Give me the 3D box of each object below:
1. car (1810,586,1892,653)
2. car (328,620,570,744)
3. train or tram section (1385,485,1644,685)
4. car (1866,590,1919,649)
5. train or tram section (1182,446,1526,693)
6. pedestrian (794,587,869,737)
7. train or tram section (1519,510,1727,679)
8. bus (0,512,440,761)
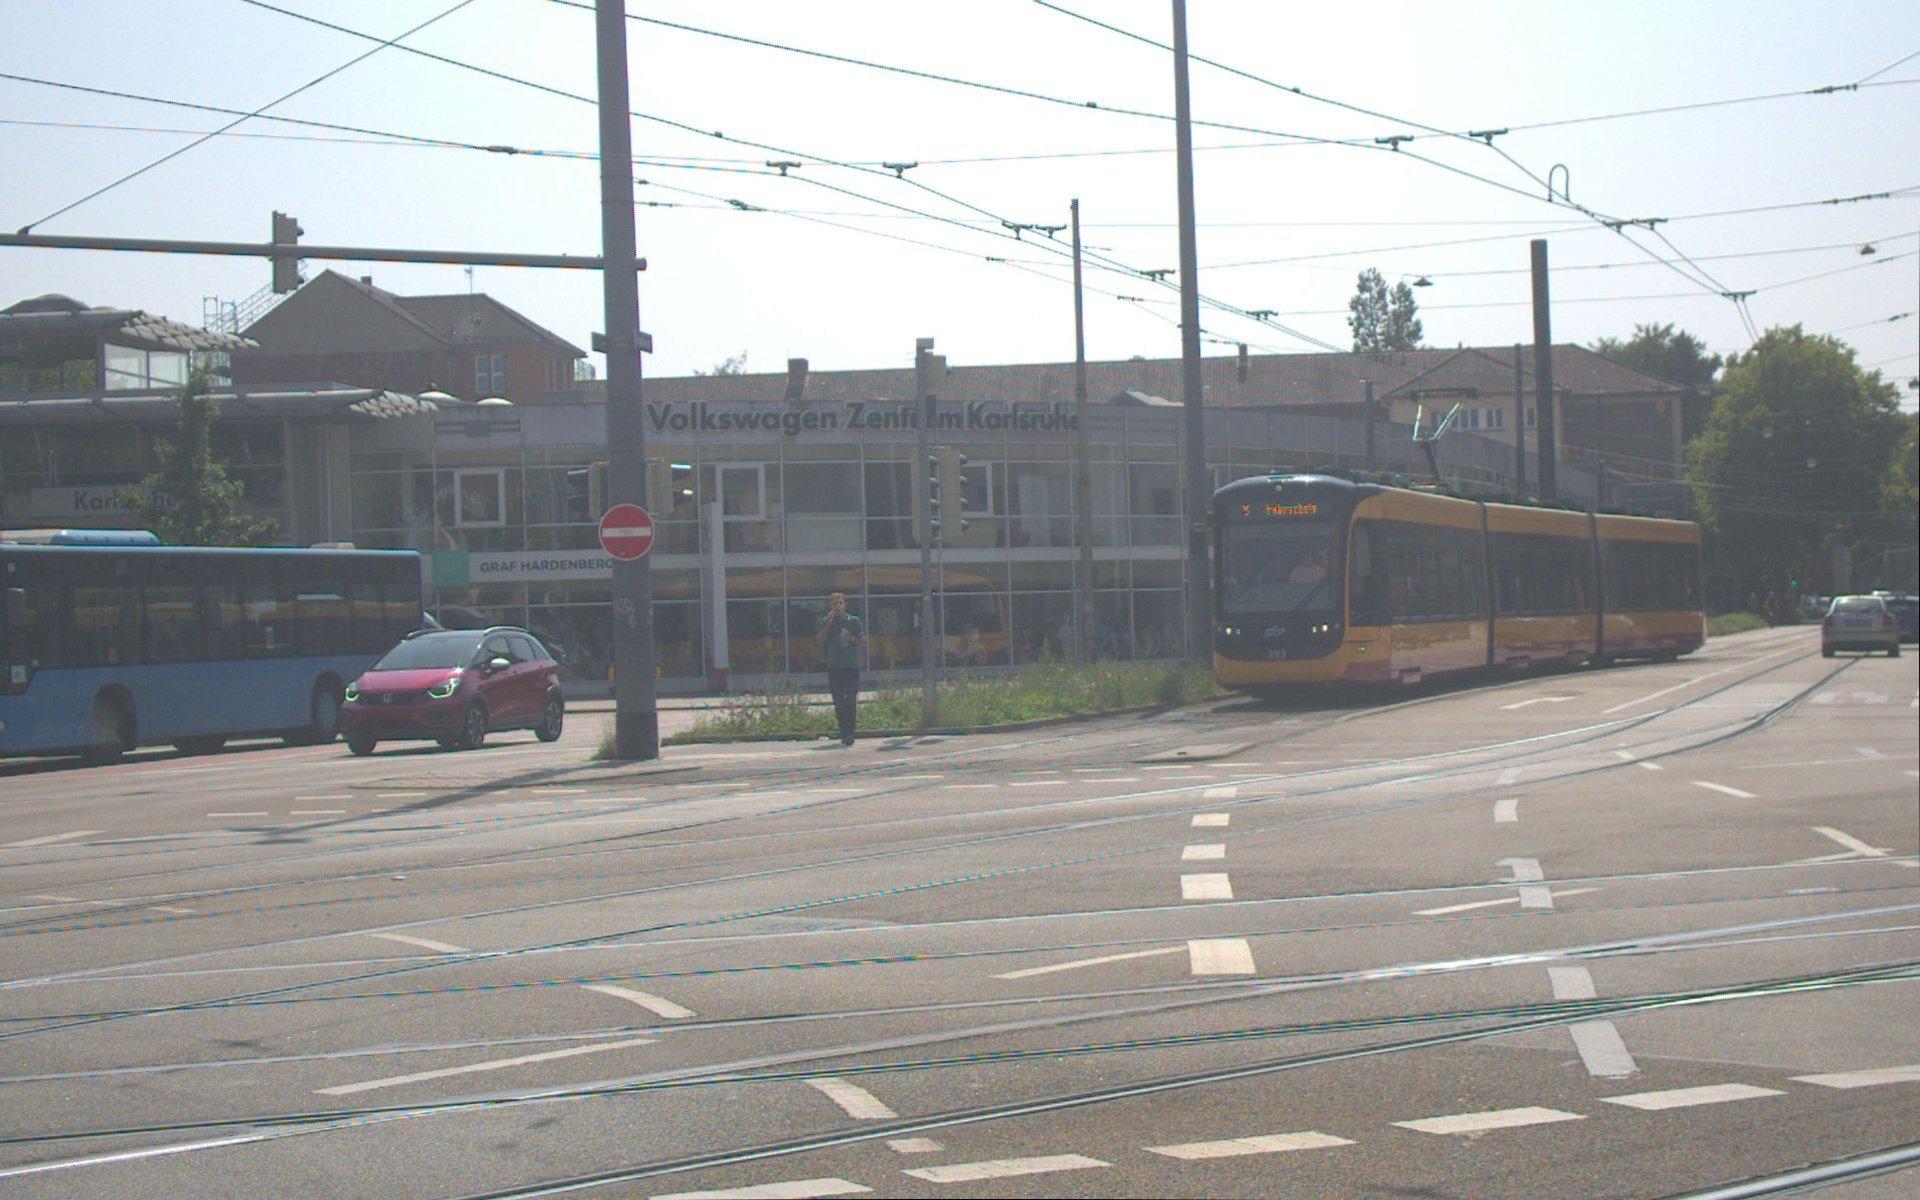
[{"bbox_3d":[21.219,0.484,81.963,1.733,1.569,3.610,0,-1,12],"label":"car"},{"bbox_3d":[-6.580,1.036,44.613,1.626,1.467,3.769,-2,0,17],"label":"car"},{"bbox_3d":[11.035,-0.186,67.175,2.590,3.548,12.203,0,-1,21],"label":"train or tram section"},{"bbox_3d":[25.121,0.515,92.057,1.510,1.506,3.621,-2,0,13],"label":"car"},{"bbox_3d":[6.616,-0.352,55.454,2.590,3.548,12.203,0,-1,21],"label":"train or tram section"},{"bbox_3d":[-1.474,0.709,39.595,0.802,1.681,0.719,-2,0,-1],"label":"pedestrian"},{"bbox_3d":[15.251,-0.029,78.267,2.590,3.548,12.203,0,-1,21],"label":"train or tram section"},{"bbox_3d":[-11.282,0.458,47.957,2.728,3.054,12.071,-2,0,18],"label":"bus"}]
